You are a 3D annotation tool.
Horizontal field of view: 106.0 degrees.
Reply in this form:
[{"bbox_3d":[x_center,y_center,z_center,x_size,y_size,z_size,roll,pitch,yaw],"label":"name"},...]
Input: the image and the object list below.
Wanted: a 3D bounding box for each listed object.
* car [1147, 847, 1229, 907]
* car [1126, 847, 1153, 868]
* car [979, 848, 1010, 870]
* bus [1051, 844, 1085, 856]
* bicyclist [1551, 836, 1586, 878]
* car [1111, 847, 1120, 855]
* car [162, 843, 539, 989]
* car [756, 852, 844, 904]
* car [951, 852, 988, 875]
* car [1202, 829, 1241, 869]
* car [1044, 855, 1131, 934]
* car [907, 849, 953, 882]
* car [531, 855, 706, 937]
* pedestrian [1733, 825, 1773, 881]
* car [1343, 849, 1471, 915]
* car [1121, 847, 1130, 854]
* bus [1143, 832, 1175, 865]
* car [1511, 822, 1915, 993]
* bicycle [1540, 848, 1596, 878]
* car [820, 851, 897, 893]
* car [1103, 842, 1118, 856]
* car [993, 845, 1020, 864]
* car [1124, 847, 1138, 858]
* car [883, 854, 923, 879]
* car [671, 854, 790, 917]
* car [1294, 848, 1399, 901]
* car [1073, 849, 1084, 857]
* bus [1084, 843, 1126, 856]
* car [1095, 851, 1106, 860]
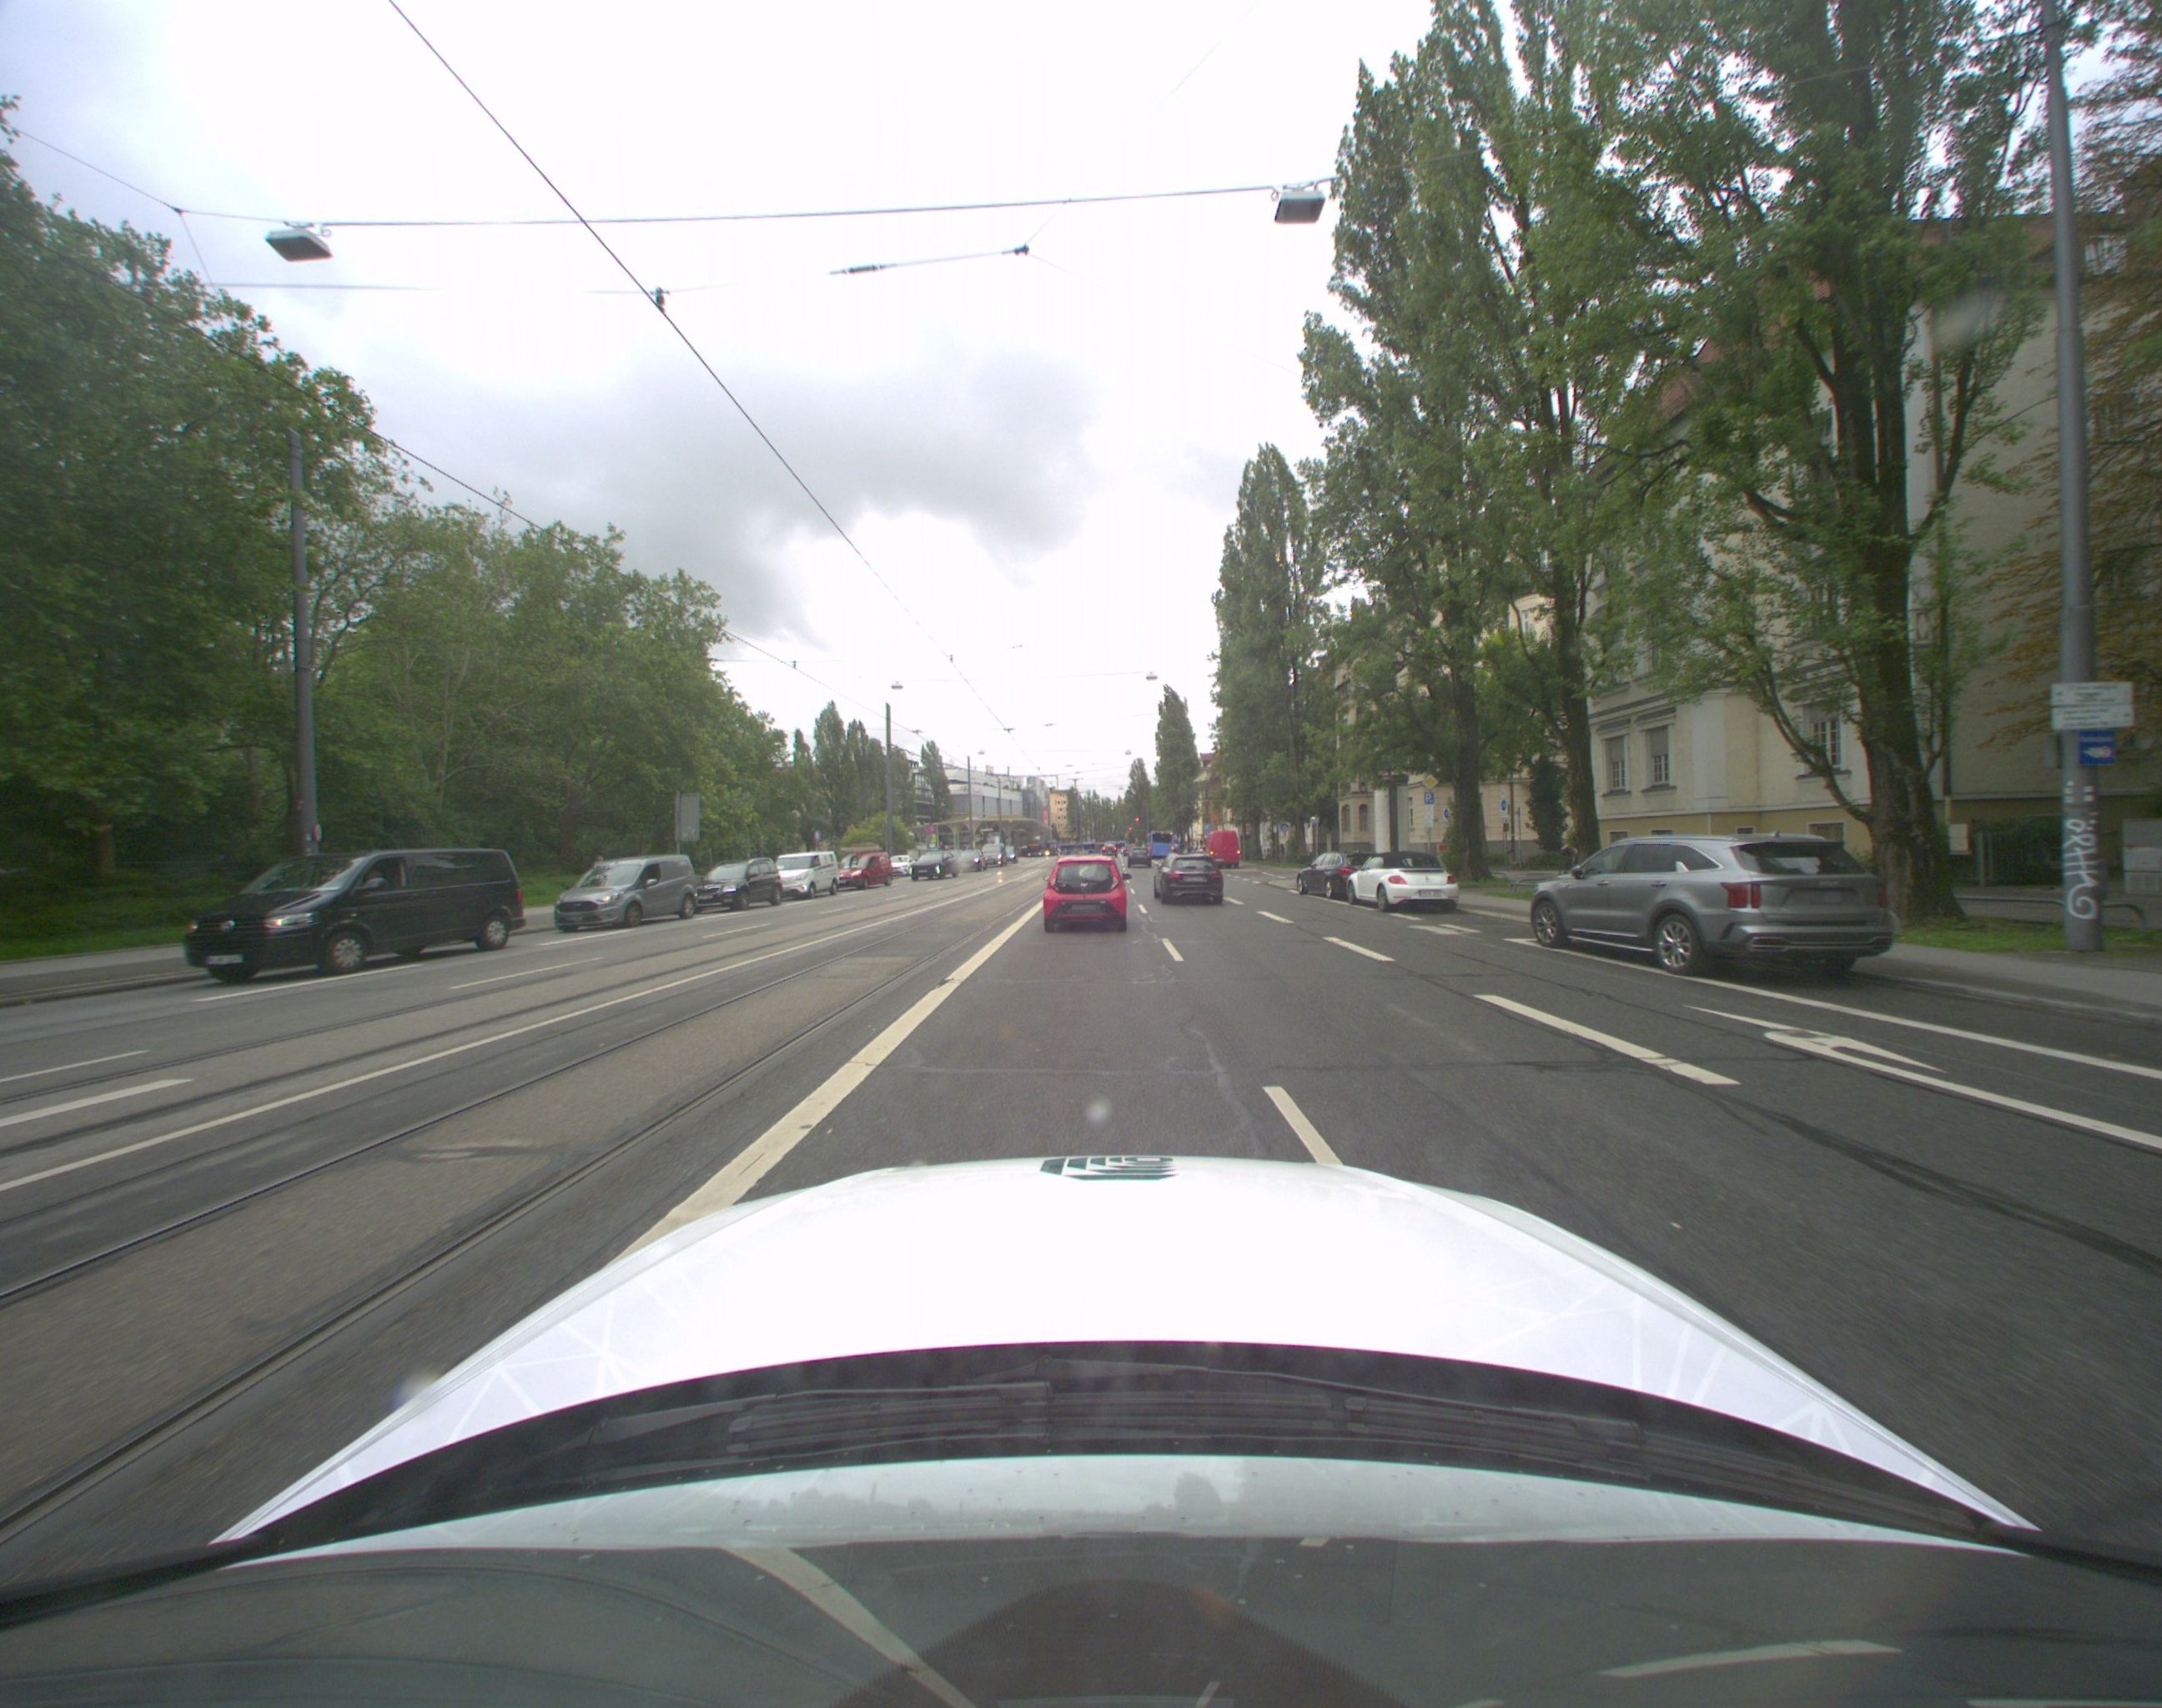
[{"bbox_3d":[3.138,0.629,24.876,1.857,1.549,4.703,-2,1,0],"label":"car"},{"bbox_3d":[4.377,0.247,61.344,1.774,1.486,4.001,-1,0,2],"label":"car"},{"bbox_3d":[-7.168,0.362,67.678,1.792,1.665,4.521,-4,0,2],"label":"car"},{"bbox_3d":[-3.358,-0.933,206.896,8.445,2.845,1.999,-1,2,-3],"label":"bus"},{"bbox_3d":[15.704,0.082,26.252,0.658,1.314,0.706,-2,0,-1],"label":"bicyclist"},{"bbox_3d":[7.836,-0.596,185.208,1.795,1.596,4.005,-1,-3,5],"label":"car"},{"bbox_3d":[-12.038,0.874,14.068,1.793,1.991,5.041,-2,0,2],"label":"car"},{"bbox_3d":[-11.439,0.909,33.496,1.793,1.861,4.631,-4,0,1],"label":"car"},{"bbox_3d":[-8.117,0.653,59.512,1.792,1.530,4.522,-4,0,2],"label":"car"},{"bbox_3d":[9.572,-0.382,55.892,1.986,2.574,4.682,-1,2,2],"label":"car"},{"bbox_3d":[0.096,0.758,17.002,1.624,1.440,3.375,-1,0,-1],"label":"car"},{"bbox_3d":[-8.923,0.656,48.389,1.794,1.788,4.518,-4,0,0],"label":"car"},{"bbox_3d":[-11.915,0.995,21.394,1.793,1.788,4.520,-4,0,2],"label":"car"},{"bbox_3d":[19.141,-0.037,23.215,0.550,1.547,0.738,-1,2,0],"label":"pedestrian"},{"bbox_3d":[8.274,0.645,21.077,1.793,1.508,4.001,-1,0,2],"label":"car"},{"bbox_3d":[10.207,-0.718,187.027,1.774,1.486,4.001,-2,0,2],"label":"car"},{"bbox_3d":[8.794,-0.728,93.206,2.895,3.395,10.811,-1,2,2],"label":"bus"},{"bbox_3d":[7.944,0.558,10.983,1.793,1.742,4.700,-2,0,0],"label":"car"},{"bbox_3d":[15.696,0.285,26.316,0.650,0.923,1.902,-2,0,0],"label":"bicycle"},{"bbox_3d":[-10.861,0.845,40.124,1.788,1.788,4.532,-4,0,10],"label":"car"},{"bbox_3d":[3.563,-0.619,99.408,1.729,1.549,4.578,-2,0,1],"label":"car"},{"bbox_3d":[-7.031,0.010,77.296,1.791,1.665,4.524,-4,0,4],"label":"car"},{"bbox_3d":[6.988,-0.164,114.055,1.774,1.486,4.001,-2,0,2],"label":"car"},{"bbox_3d":[-12.307,0.814,56.514,1.794,1.530,4.516,-4,0,-1],"label":"car"},{"bbox_3d":[-11.575,0.968,27.254,1.793,1.788,4.520,-4,0,2],"label":"car"},{"bbox_3d":[8.373,0.590,26.090,1.794,1.508,4.447,-1,0,-2],"label":"car"},{"bbox_3d":[-0.442,-0.238,150.691,1.774,1.486,4.001,-1,0,2],"label":"car"},{"bbox_3d":[6.158,-1.147,207.351,10.529,2.845,1.999,-1,2,-3],"label":"bus"},{"bbox_3d":[3.259,0.197,136.391,1.774,1.486,4.001,-2,0,2],"label":"car"}]
